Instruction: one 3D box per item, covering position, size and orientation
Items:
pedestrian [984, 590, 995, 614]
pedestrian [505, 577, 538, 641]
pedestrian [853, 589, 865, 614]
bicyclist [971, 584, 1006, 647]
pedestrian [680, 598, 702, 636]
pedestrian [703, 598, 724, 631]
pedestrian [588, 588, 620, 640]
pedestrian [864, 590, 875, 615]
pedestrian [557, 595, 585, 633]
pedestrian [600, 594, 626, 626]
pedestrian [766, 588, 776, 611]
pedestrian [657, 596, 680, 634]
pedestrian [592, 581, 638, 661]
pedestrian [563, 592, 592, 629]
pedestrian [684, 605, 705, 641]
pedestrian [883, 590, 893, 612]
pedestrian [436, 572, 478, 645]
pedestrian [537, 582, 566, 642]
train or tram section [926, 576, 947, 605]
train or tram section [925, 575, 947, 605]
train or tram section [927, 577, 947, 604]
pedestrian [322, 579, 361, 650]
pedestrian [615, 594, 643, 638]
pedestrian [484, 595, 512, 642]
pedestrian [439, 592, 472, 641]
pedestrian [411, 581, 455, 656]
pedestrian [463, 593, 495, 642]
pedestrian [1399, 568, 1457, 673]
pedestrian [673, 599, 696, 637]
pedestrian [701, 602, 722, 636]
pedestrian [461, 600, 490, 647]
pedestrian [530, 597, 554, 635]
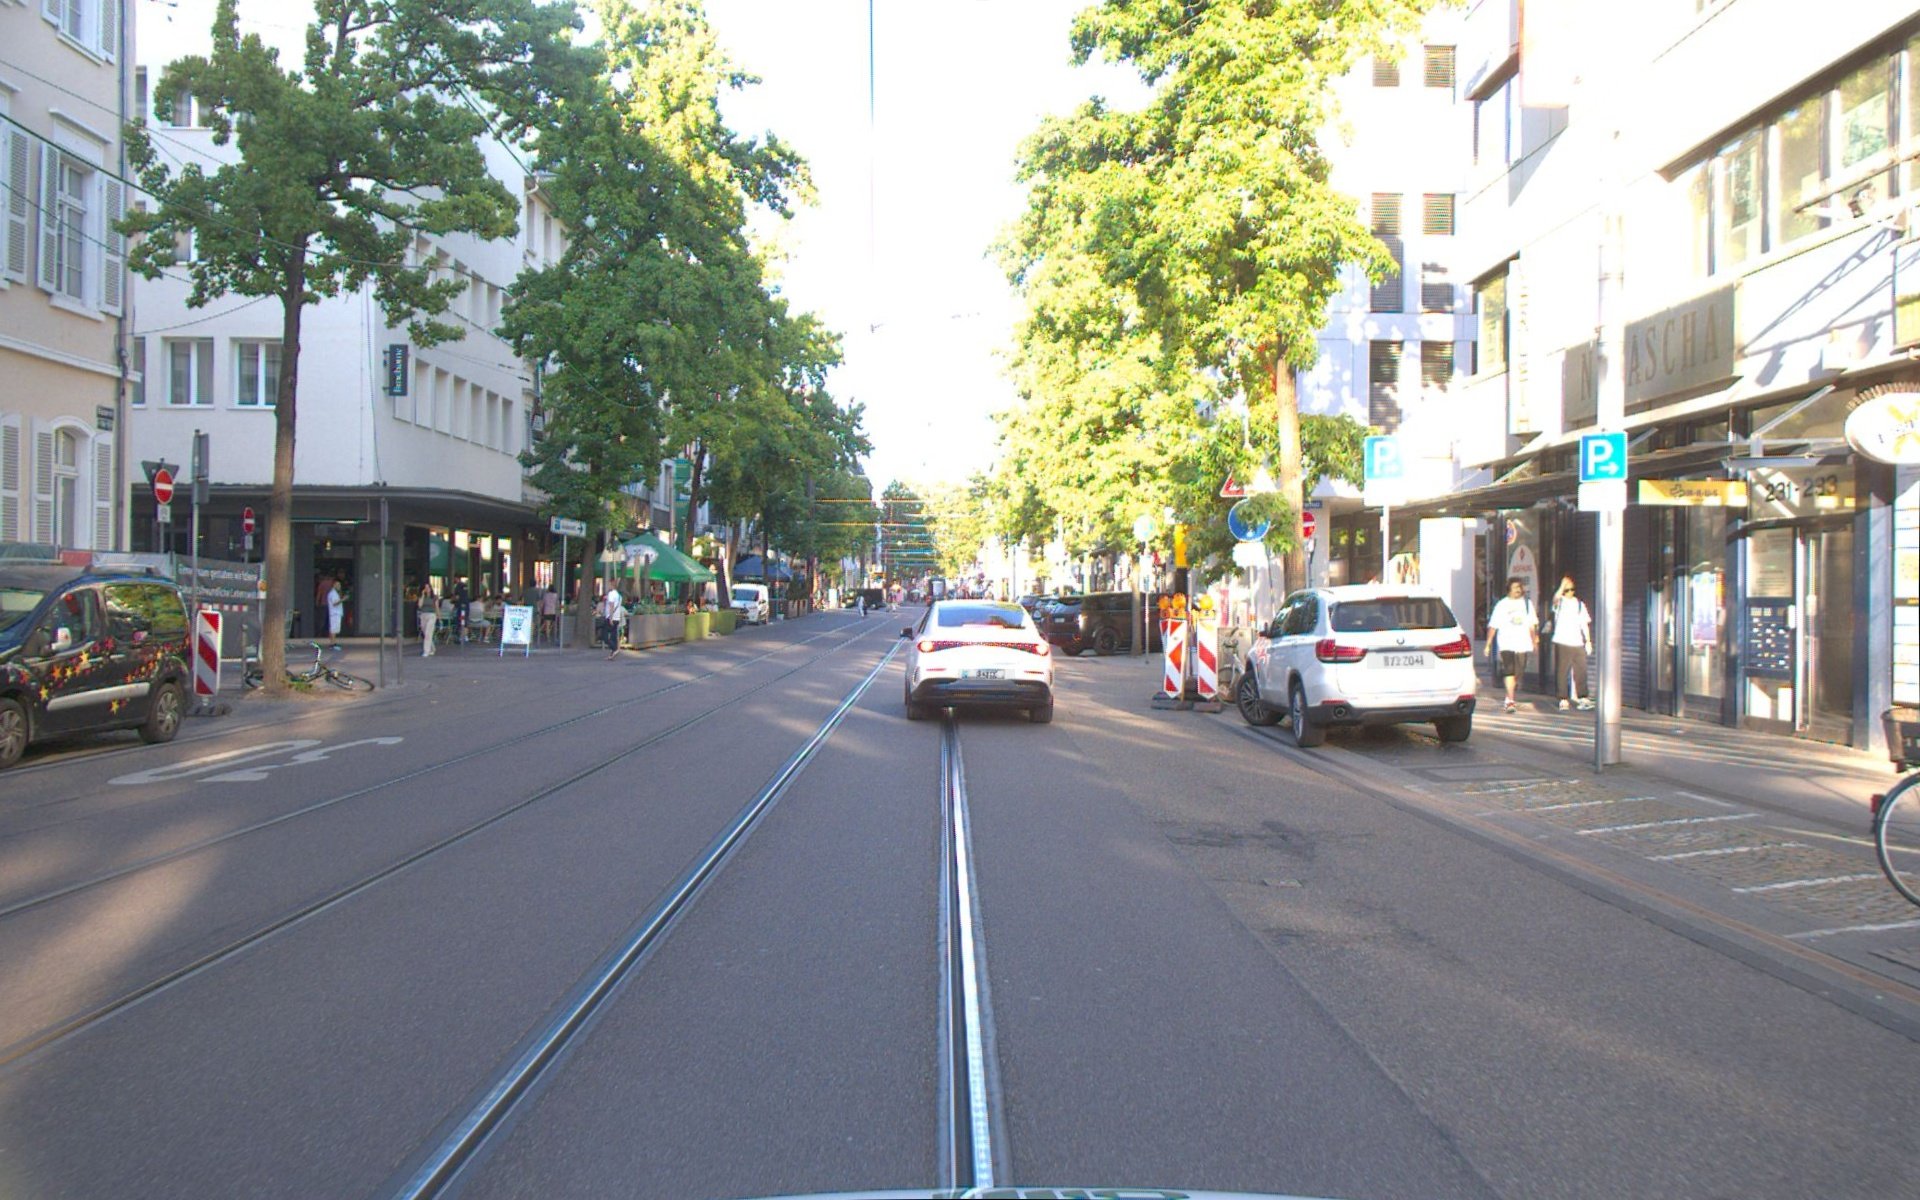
[{"bbox_3d":[2.246,0.136,126.006,0.824,1.832,0.790,2,0,0],"label":"pedestrian"},{"bbox_3d":[-12.409,0.255,46.835,0.664,1.787,0.697,2,0,1],"label":"pedestrian"},{"bbox_3d":[-6.262,0.078,102.316,0.609,1.535,0.833,3,0,0],"label":"pedestrian"},{"bbox_3d":[0.771,0.411,44.426,0.761,1.641,0.913,2,0,8],"label":"bicyclist"},{"bbox_3d":[-9.411,0.584,57.840,0.606,1.266,0.697,3,0,-1],"label":"pedestrian"},{"bbox_3d":[-9.665,0.564,64.946,0.643,1.214,0.798,3,0,-1],"label":"pedestrian"},{"bbox_3d":[-9.915,0.397,46.074,0.675,1.410,0.807,2,0,0],"label":"pedestrian"},{"bbox_3d":[-5.668,0.155,103.400,0.609,1.577,0.852,3,0,0],"label":"pedestrian"},{"bbox_3d":[-13.492,0.482,57.385,0.721,1.253,0.788,3,0,-1],"label":"pedestrian"},{"bbox_3d":[-13.544,0.380,64.573,0.737,1.209,1.065,3,0,-1],"label":"pedestrian"},{"bbox_3d":[-13.148,-0.035,115.275,0.585,1.559,0.671,2,0,0],"label":"pedestrian"},{"bbox_3d":[-10.170,0.528,57.736,0.606,1.266,0.697,3,0,-1],"label":"pedestrian"},{"bbox_3d":[-7.871,0.469,37.727,0.778,1.771,0.867,1,1,8],"label":"pedestrian"},{"bbox_3d":[-13.520,0.364,58.467,0.761,1.258,0.945,3,0,-1],"label":"pedestrian"},{"bbox_3d":[-10.299,0.884,64.177,0.643,1.315,0.798,3,0,-1],"label":"pedestrian"},{"bbox_3d":[-6.112,0.090,139.812,0.771,1.832,0.844,0,0,0],"label":"pedestrian"},{"bbox_3d":[-12.973,0.219,42.682,0.670,1.847,0.764,2,0,14],"label":"pedestrian"},{"bbox_3d":[-11.682,0.341,47.325,0.606,1.699,0.697,2,0,-1],"label":"pedestrian"},{"bbox_3d":[-3.033,-1.240,215.536,2.639,3.578,12.543,0,0,-1],"label":"train or tram section"},{"bbox_3d":[-2.919,-1.179,202.985,2.639,3.578,12.543,0,0,-1],"label":"train or tram section"},{"bbox_3d":[-3.147,-1.292,227.375,2.639,3.578,11.141,0,0,-1],"label":"train or tram section"},{"bbox_3d":[-14.606,0.334,39.081,0.783,1.642,0.862,1,2,-18],"label":"pedestrian"},{"bbox_3d":[-10.361,0.506,51.751,0.675,1.335,0.807,2,0,0],"label":"pedestrian"},{"bbox_3d":[-12.767,0.505,45.758,0.541,1.257,0.687,2,0,0],"label":"pedestrian"},{"bbox_3d":[-13.673,0.448,44.843,0.631,1.291,0.738,2,0,0],"label":"pedestrian"},{"bbox_3d":[-12.088,0.416,37.981,0.692,1.685,0.967,0,1,1],"label":"pedestrian"},{"bbox_3d":[-13.025,0.471,44.776,0.614,1.304,0.727,2,0,0],"label":"pedestrian"},{"bbox_3d":[8.747,0.370,30.932,0.816,1.930,0.918,-1,0,2],"label":"pedestrian"},{"bbox_3d":[-9.494,0.602,57.016,0.606,1.266,0.697,3,0,-1],"label":"pedestrian"},{"bbox_3d":[-9.595,0.716,63.911,0.643,1.266,0.872,3,0,-1],"label":"pedestrian"},{"bbox_3d":[-13.351,0.638,45.572,0.541,1.257,0.687,2,0,0],"label":"pedestrian"},{"bbox_3d":[-13.120,0.496,51.926,0.541,1.182,0.687,2,0,0],"label":"pedestrian"}]
